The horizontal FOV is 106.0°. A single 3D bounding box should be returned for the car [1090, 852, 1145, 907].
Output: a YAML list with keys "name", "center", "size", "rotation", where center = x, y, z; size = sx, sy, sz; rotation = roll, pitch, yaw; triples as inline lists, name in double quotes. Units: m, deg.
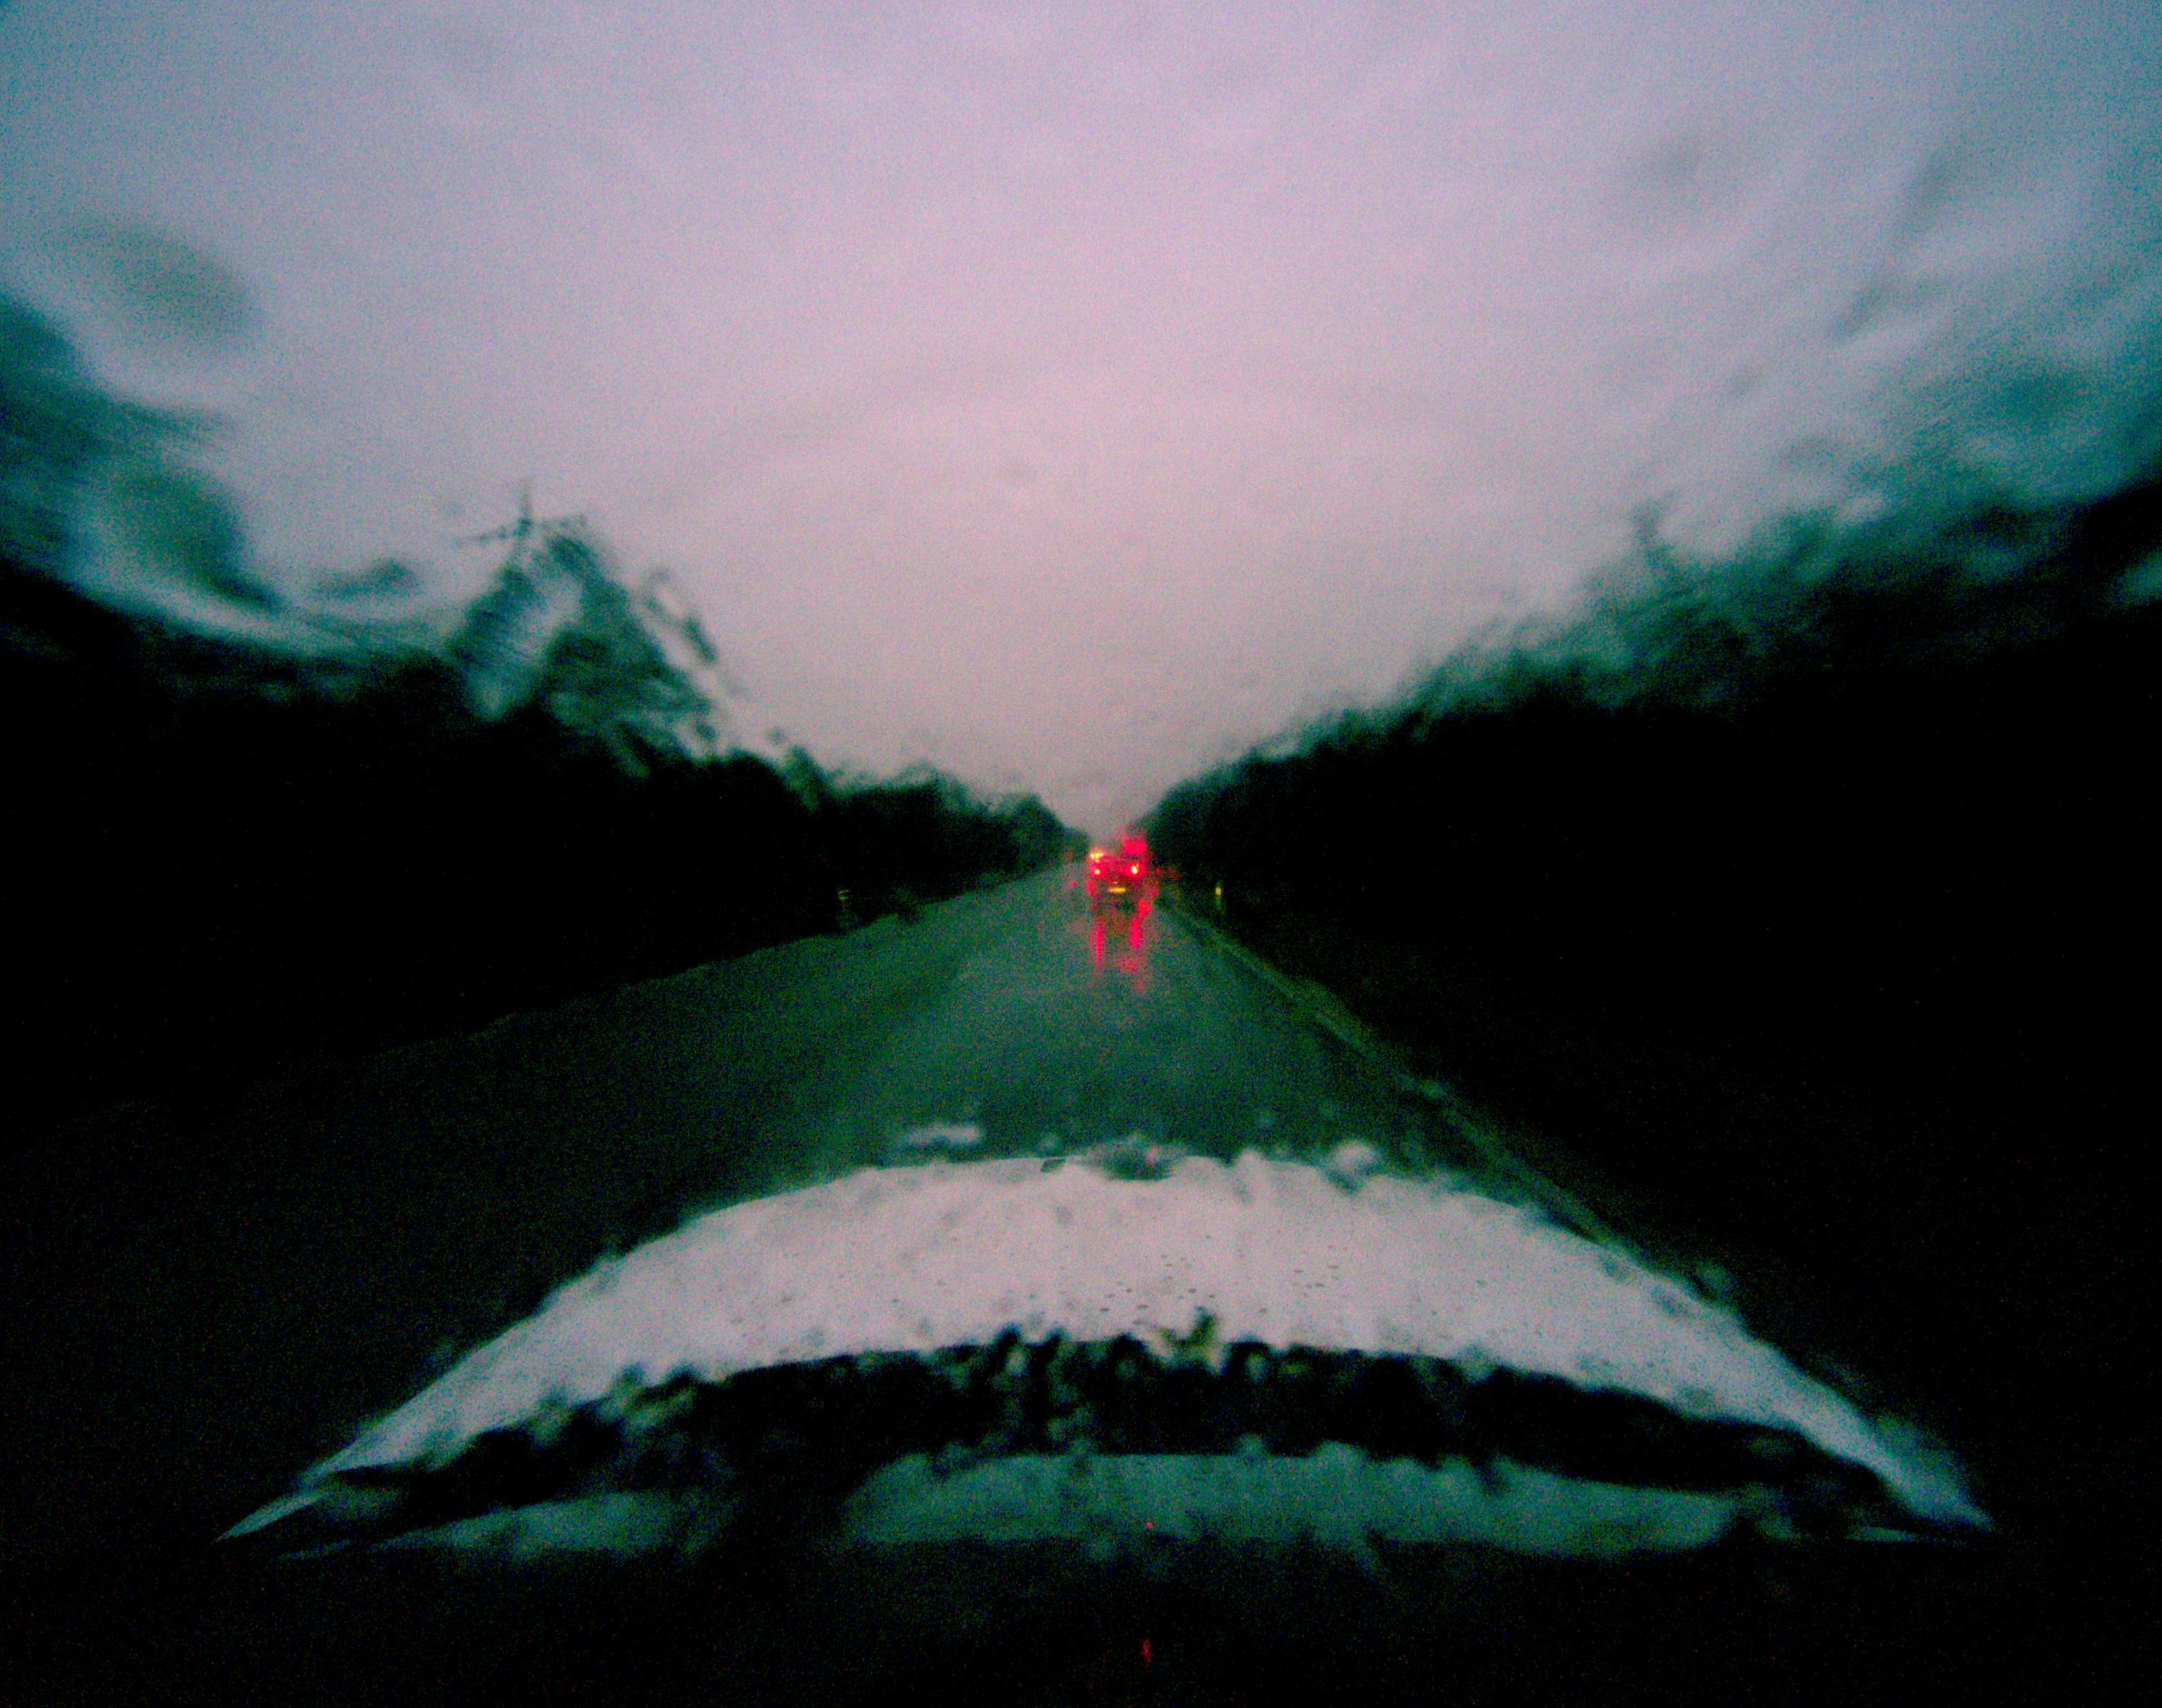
- name: "car"
  center: [1.172, 0.793, 26.617]
  size: [1.642, 1.672, 3.515]
  rotation: [-1, 0, 2]

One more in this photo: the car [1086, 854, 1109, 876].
- name: "car"
  center: [1.363, 0.885, 66.709]
  size: [1.727, 1.779, 4.001]
  rotation: [-1, 0, 1]
